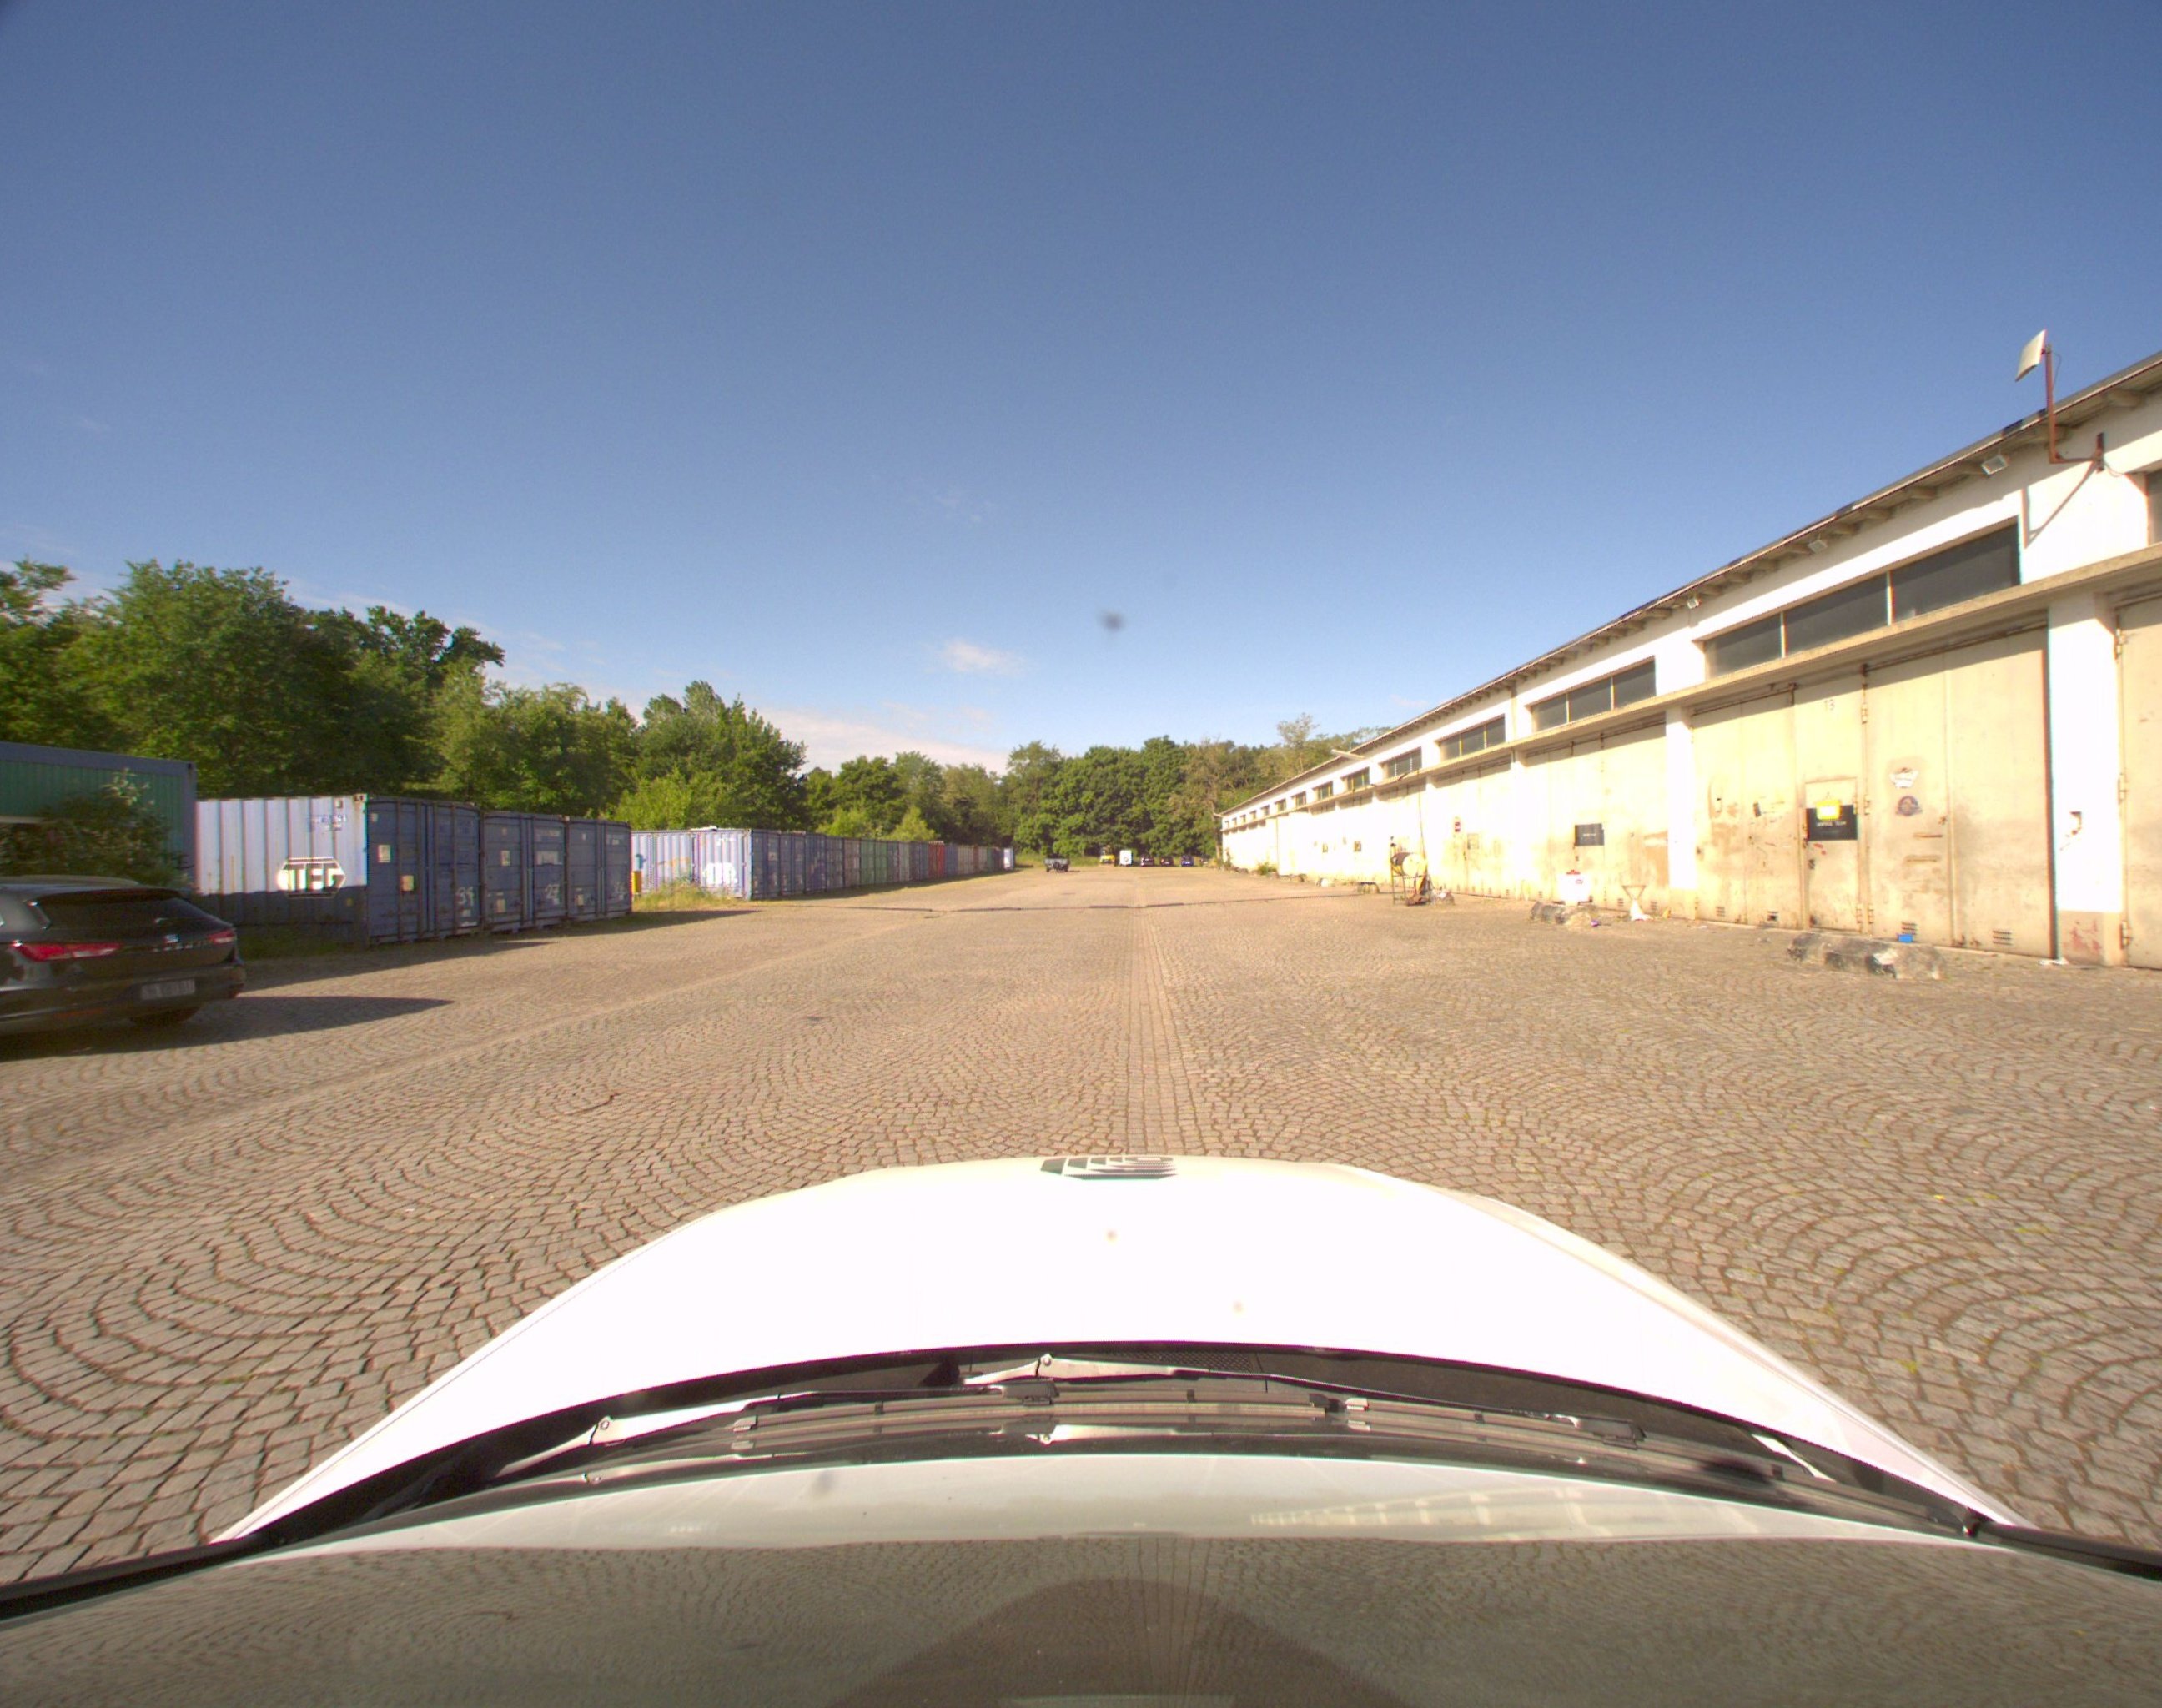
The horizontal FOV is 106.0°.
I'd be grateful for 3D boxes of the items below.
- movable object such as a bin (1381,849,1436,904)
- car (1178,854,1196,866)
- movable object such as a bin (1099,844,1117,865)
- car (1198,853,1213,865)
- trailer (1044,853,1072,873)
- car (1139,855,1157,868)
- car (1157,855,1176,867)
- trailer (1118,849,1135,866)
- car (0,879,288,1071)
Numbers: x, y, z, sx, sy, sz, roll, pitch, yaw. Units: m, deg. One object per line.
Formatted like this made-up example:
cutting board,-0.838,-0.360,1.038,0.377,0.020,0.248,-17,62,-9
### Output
movable object such as a bin,8.234,0.559,20.537,0.821,1.331,1.279,-1,0,-1
car,13.587,0.716,104.050,1.981,1.420,4.012,-1,0,10
movable object such as a bin,3.574,0.088,106.345,1.982,2.618,4.009,1,0,8
car,16.102,0.628,105.158,1.675,1.563,4.012,-1,0,10
trailer,-2.429,0.931,87.239,2.395,2.013,4.180,1,0,6
car,8.564,0.919,104.109,1.850,1.585,4.012,-1,0,10
car,10.929,0.880,103.955,1.981,1.463,4.012,-1,0,10
trailer,5.949,0.437,105.945,1.784,2.090,3.980,-1,0,8
car,-9.747,0.953,7.036,4.036,1.413,1.731,0,-1,0
